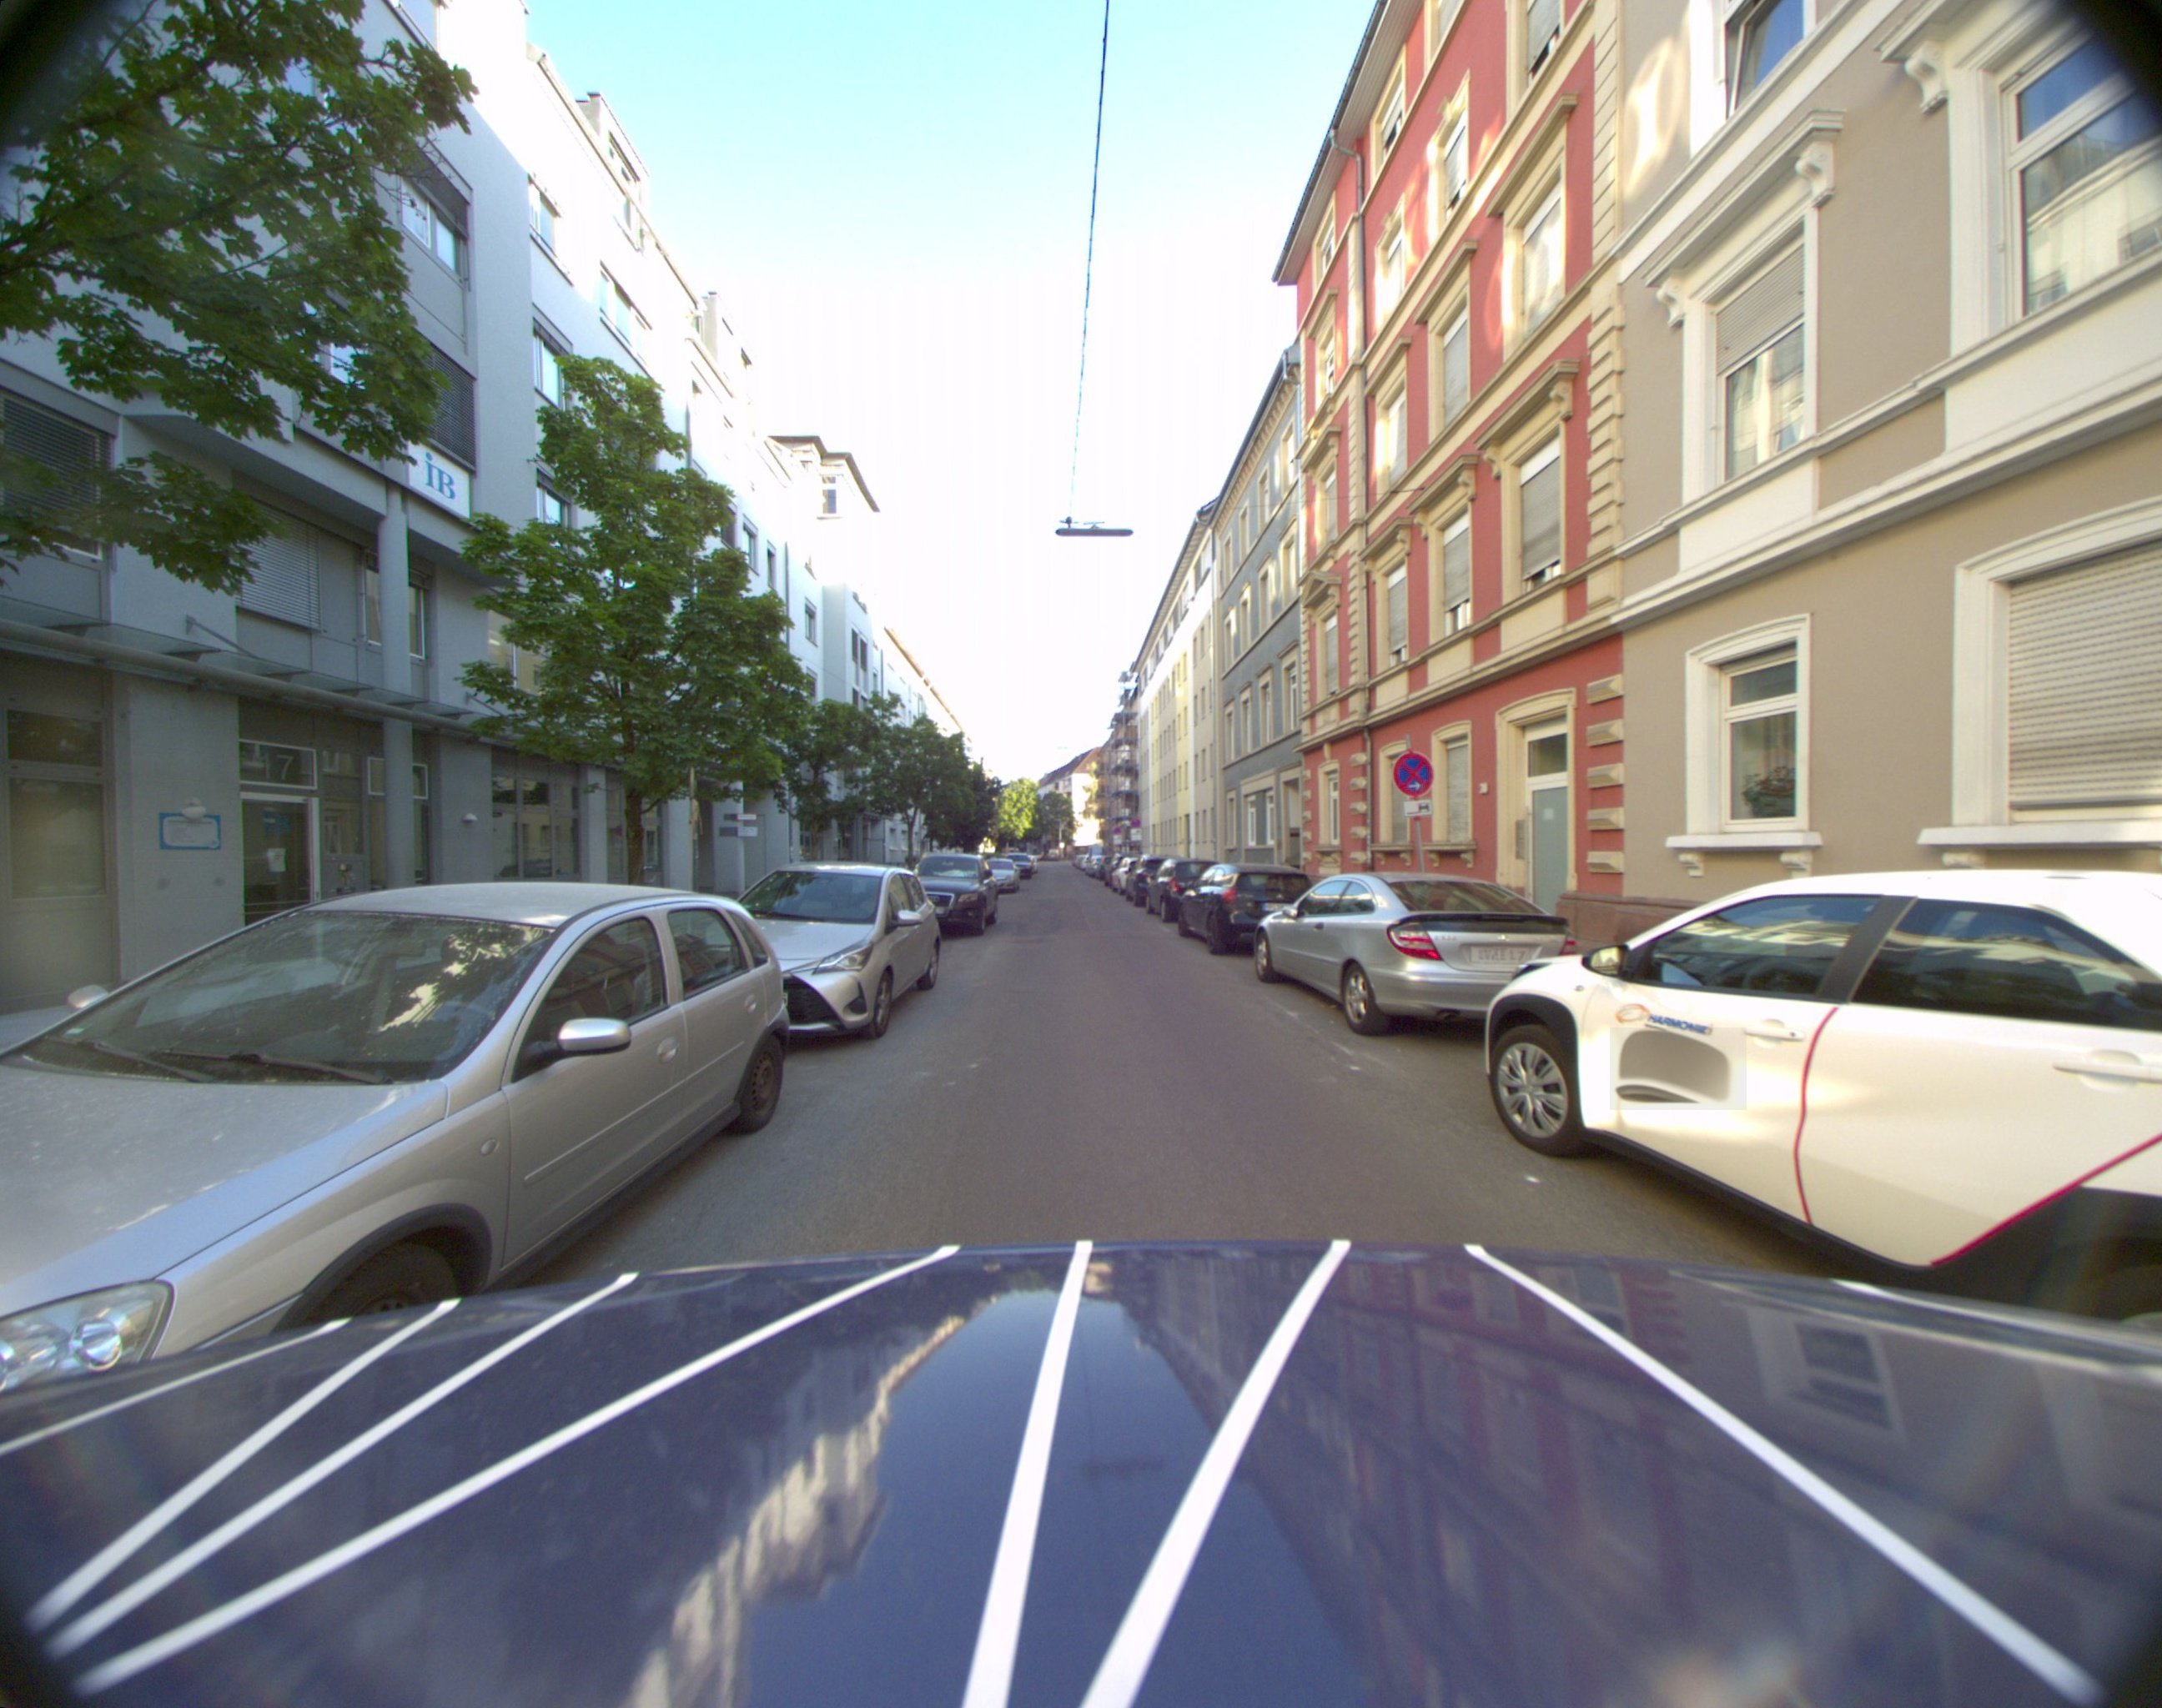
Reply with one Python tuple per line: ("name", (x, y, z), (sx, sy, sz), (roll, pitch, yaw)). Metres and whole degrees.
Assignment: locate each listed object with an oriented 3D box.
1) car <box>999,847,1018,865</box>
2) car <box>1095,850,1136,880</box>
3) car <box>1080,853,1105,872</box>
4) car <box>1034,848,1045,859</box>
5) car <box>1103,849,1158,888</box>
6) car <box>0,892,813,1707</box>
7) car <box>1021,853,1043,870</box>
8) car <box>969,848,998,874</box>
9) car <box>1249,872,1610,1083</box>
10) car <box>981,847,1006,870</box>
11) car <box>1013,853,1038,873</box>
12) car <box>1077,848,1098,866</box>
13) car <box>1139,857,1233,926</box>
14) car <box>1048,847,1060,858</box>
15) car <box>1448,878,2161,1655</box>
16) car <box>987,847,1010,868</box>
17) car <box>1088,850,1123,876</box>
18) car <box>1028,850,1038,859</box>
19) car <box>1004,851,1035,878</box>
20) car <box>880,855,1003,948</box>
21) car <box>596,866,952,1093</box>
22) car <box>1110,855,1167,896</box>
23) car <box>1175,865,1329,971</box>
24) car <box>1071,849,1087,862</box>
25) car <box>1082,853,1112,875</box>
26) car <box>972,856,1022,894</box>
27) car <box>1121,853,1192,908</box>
("car", (-8.393, 0.168, 88.604), (1.999, 2.002, 3.998), (-1, 1, -3))
("car", (1.987, 0.613, 45.167), (1.999, 1.576, 4.492), (-1, 1, -3))
("car", (1.032, 0.740, 70.016), (1.999, 1.576, 4.492), (-1, 1, -3))
("car", (-7.509, -0.107, 137.485), (1.999, 1.838, 3.998), (-2, 1, -3))
("car", (2.207, 0.612, 35.249), (1.999, 1.640, 4.492), (-1, 1, -3))
("car", (-2.673, 1.009, 3.117), (1.638, 1.439, 4.066), (-1, 0, 1))
("car", (-4.455, 0.652, 69.555), (1.856, 1.480, 3.998), (-1, 0, -3))
("car", (-7.890, 0.509, 61.898), (1.999, 2.002, 3.998), (-1, 1, -3))
("car", (3.056, 0.984, 7.669), (1.614, 1.420, 3.960), (2, 1, -3))
("car", (-8.169, 0.408, 71.393), (1.999, 2.002, 3.998), (-1, 1, -3))
("car", (-4.443, 0.702, 61.797), (1.903, 1.510, 4.222), (-1, 0, -3))
("car", (0.675, 0.310, 80.254), (1.999, 1.783, 3.999), (-1, 0, -2))
("car", (2.524, 0.858, 19.194), (1.537, 1.490, 4.194), (1, 1, -3))
("car", (-4.708, -0.323, 132.547), (1.999, 1.783, 3.999), (-1, 0, -2))
("car", (3.117, 0.947, 2.689), (1.688, 1.487, 3.843), (3, 1, 0))
("car", (-8.239, 0.311, 75.881), (1.999, 2.002, 3.998), (-1, 1, -3))
("car", (1.566, 0.572, 49.855), (1.999, 1.566, 4.148), (-1, 0, -2))
("car", (-8.699, 0.038, 137.195), (1.704, 1.537, 3.828), (-1, 1, -4))
("car", (-3.969, 0.668, 49.345), (1.856, 1.649, 3.998), (-1, 0, -4))
("car", (-2.879, 0.905, 16.636), (1.863, 1.679, 4.389), (-1, 0, 0))
("car", (-2.642, 0.979, 7.706), (1.913, 1.576, 4.000), (-1, 0, 1))
("car", (2.198, 0.803, 30.133), (1.662, 1.420, 4.351), (-1, 1, -4))
("car", (2.745, 0.965, 13.070), (1.589, 1.407, 3.911), (3, 0, -2))
("car", (-0.336, 0.192, 102.529), (1.999, 1.783, 3.999), (-1, 0, -2))
("car", (1.123, 0.683, 55.134), (1.999, 1.437, 3.999), (-1, 0, -2))
("car", (-3.566, 0.861, 32.869), (1.856, 1.480, 3.998), (-1, 0, -3))
("car", (2.304, 0.774, 24.198), (1.598, 1.513, 4.428), (-1, 1, -3))
